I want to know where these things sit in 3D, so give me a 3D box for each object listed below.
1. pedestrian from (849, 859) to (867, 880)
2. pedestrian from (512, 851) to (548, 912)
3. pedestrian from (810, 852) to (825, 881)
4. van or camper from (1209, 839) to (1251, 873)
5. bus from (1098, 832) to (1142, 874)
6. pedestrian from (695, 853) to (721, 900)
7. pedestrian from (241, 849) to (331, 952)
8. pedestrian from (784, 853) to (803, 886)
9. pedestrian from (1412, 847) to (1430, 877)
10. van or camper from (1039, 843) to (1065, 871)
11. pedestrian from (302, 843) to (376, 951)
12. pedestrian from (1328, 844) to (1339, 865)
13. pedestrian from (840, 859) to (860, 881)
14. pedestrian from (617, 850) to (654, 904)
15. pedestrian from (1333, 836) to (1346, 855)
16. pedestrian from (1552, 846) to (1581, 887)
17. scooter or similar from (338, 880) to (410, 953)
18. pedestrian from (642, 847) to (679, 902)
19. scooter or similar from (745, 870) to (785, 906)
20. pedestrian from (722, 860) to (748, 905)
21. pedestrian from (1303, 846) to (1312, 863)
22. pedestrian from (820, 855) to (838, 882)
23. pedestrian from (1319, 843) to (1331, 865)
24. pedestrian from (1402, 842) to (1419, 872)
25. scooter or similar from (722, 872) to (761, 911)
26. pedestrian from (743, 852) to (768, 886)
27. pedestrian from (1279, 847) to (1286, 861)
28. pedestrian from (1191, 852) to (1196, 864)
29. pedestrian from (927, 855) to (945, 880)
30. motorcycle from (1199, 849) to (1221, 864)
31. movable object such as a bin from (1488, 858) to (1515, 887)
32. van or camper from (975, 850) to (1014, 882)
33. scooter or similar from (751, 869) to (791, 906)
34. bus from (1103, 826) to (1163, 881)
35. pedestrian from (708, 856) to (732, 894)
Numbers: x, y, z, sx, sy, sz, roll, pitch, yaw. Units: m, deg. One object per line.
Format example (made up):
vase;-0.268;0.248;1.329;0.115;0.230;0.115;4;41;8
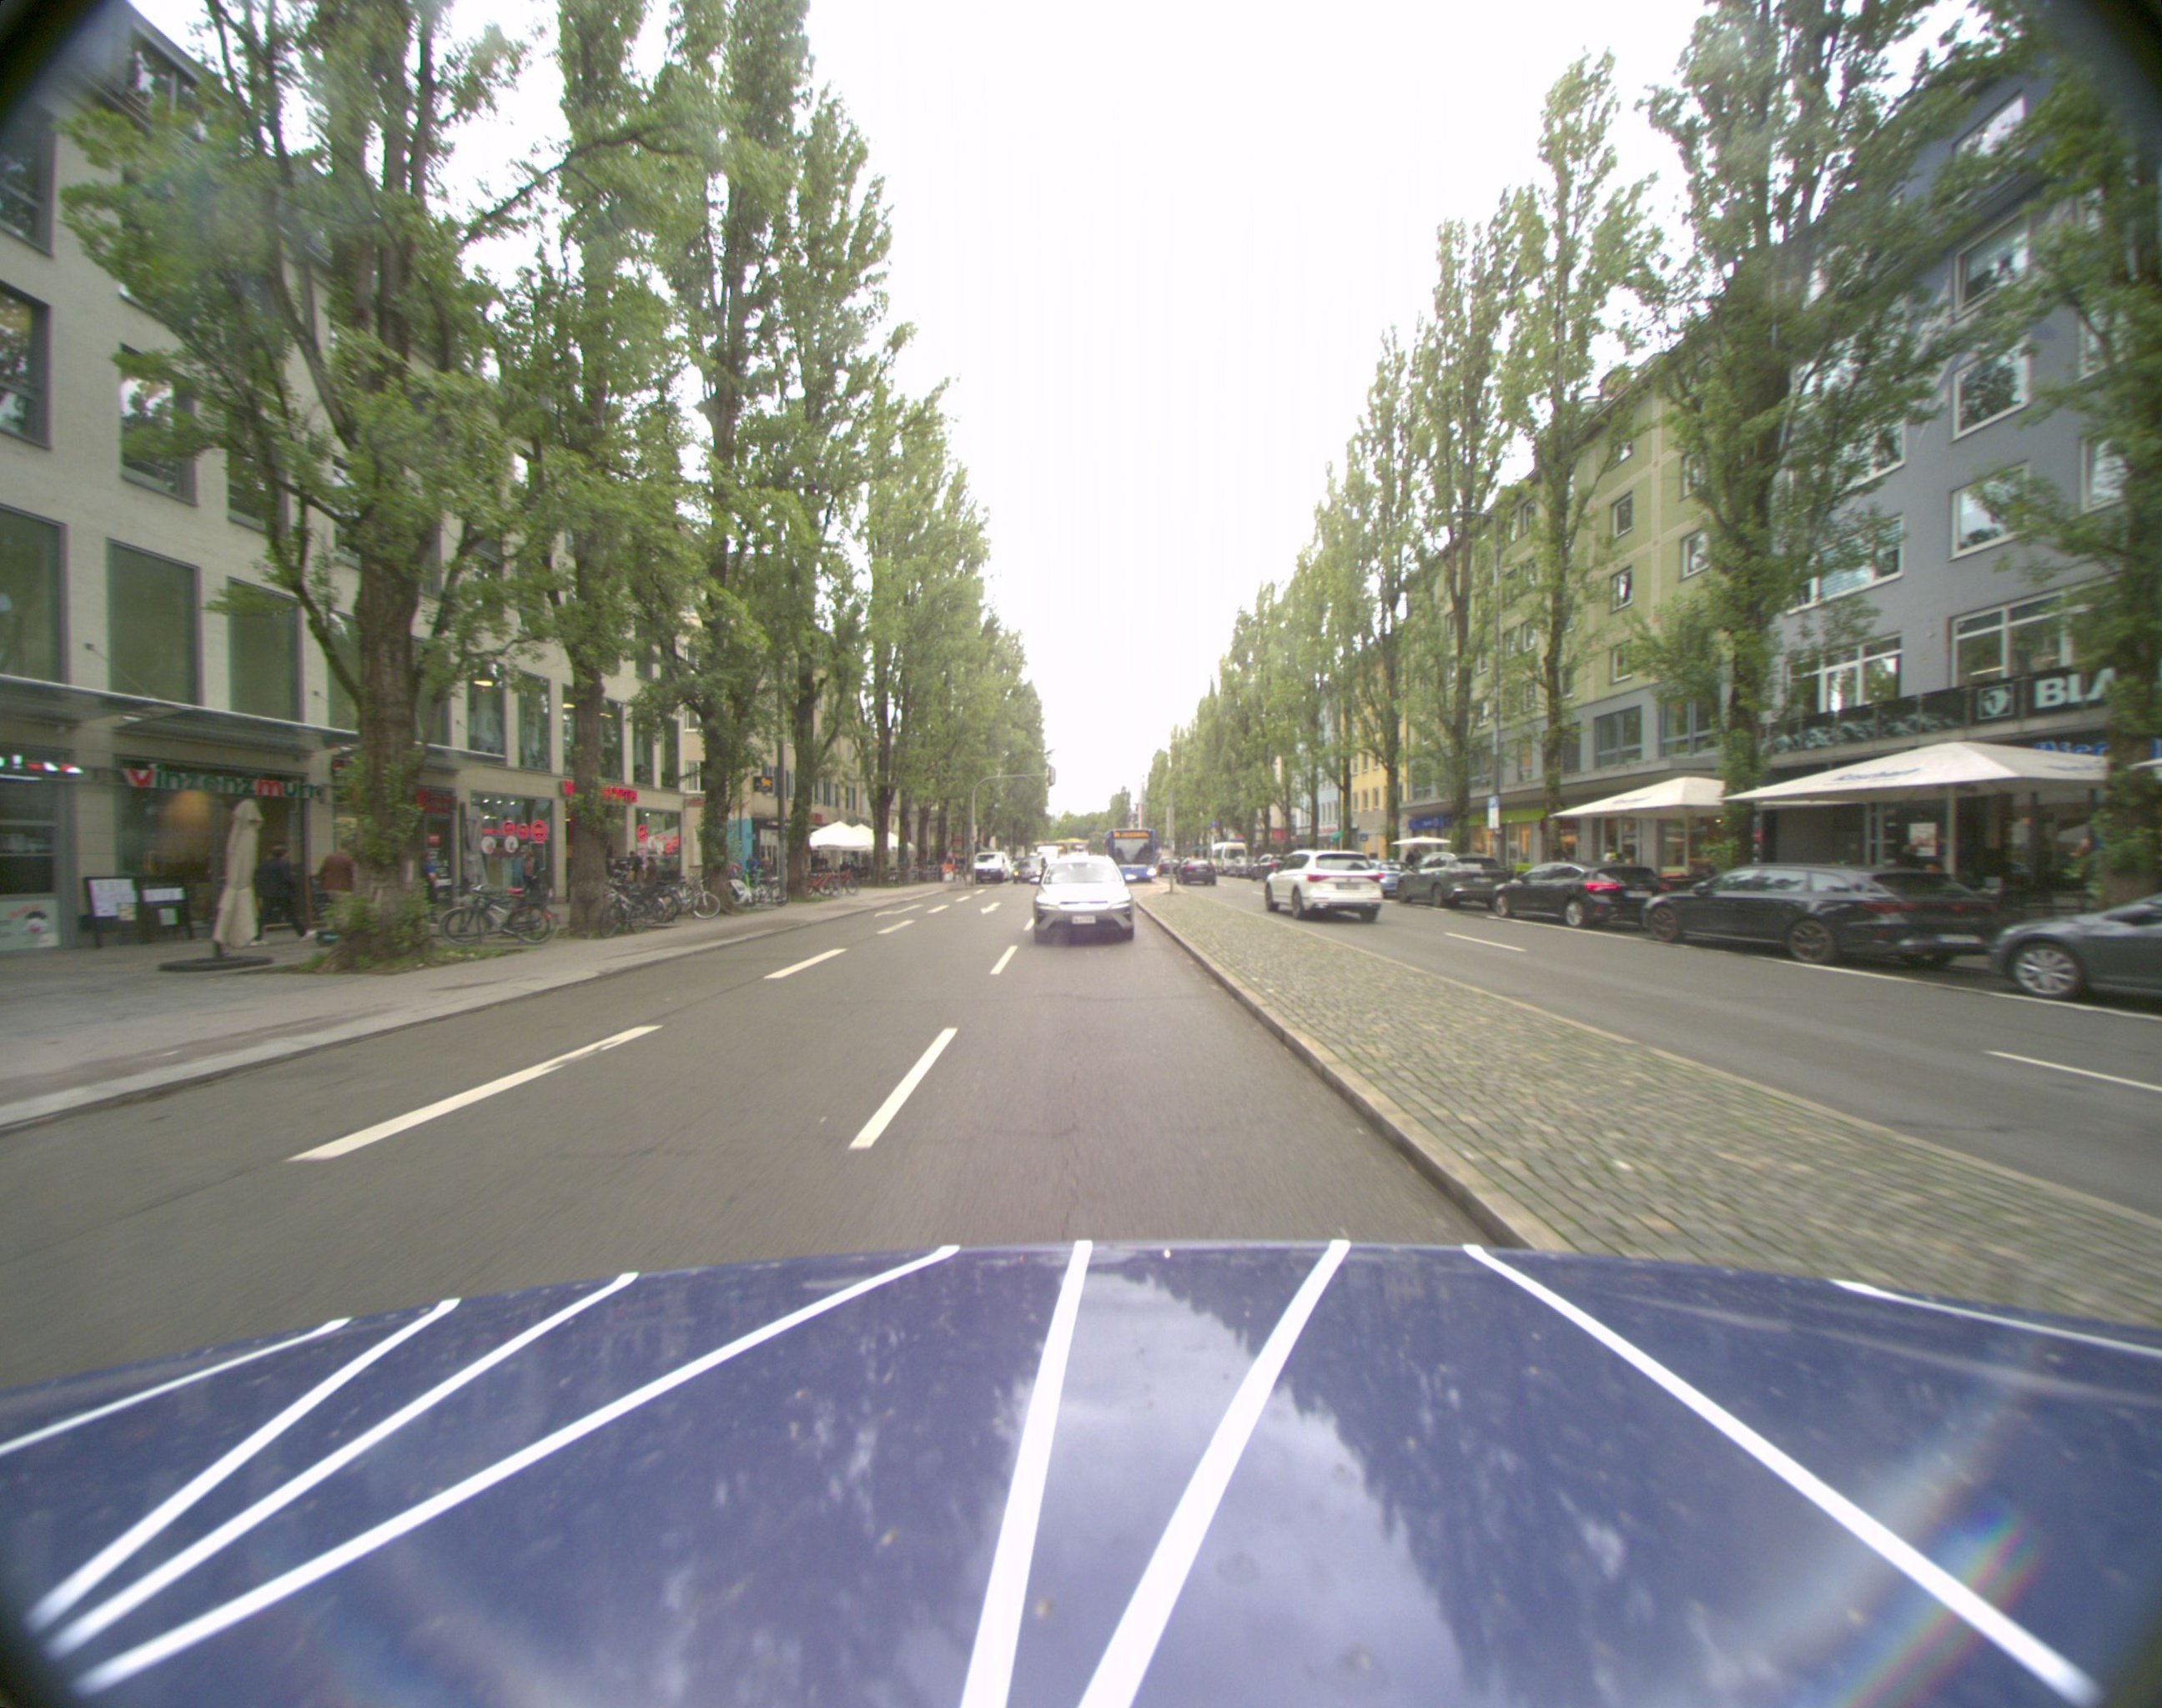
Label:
pedestrian;-13.397;0.918;45.657;0.667;1.209;1.023;-1;0;4
pedestrian;-16.366;0.810;22.569;0.547;1.757;0.642;-1;1;1
pedestrian;-15.612;0.733;44.990;0.629;1.709;0.681;-1;1;1
van or camper;11.786;0.160;60.559;2.131;2.536;6.643;-1;0;1
bus;2.872;-0.074;59.518;2.806;2.886;12.856;0;0;0
pedestrian;-13.935;0.842;28.378;0.566;1.732;0.697;-1;1;4
pedestrian;-14.664;0.831;14.039;0.658;1.840;0.906;0;1;2
pedestrian;-14.702;0.790;38.828;0.668;1.654;0.692;-1;1;0
pedestrian;20.483;0.459;45.769;0.749;1.784;0.716;-1;1;1
van or camper;-2.677;0.280;70.888;1.998;2.470;6.643;-1;0;1
pedestrian;-13.833;0.786;14.182;0.658;1.959;0.722;0;0;3
pedestrian;20.450;0.025;61.580;0.640;1.694;0.724;0;1;0
pedestrian;-13.471;0.919;44.331;0.775;1.209;1.023;-1;0;4
pedestrian;-15.567;0.800;26.561;0.753;1.843;0.821;-1;1;2
pedestrian;18.794;-0.616;55.193;0.769;1.430;0.551;0;1;-4
pedestrian;20.206;0.508;31.627;0.710;1.663;0.756;-1;1;1
scooter or similar;-13.129;1.147;14.143;0.331;1.266;1.036;-1;1;1
pedestrian;-14.481;0.705;26.184;0.753;1.859;0.821;0;1;4
scooter or similar;-10.898;1.154;26.247;0.306;1.163;1.246;-1;1;39
pedestrian;-12.914;1.065;28.338;0.547;1.639;0.751;-1;1;4
pedestrian;18.728;0.036;62.839;0.649;1.430;0.551;0;1;2
pedestrian;-14.929;0.870;44.985;0.696;1.568;0.874;-1;1;1
pedestrian;19.717;0.027;61.399;0.732;1.755;0.724;0;1;-1
pedestrian;19.851;0.151;45.761;0.749;1.784;0.716;-1;1;1
scooter or similar;-10.537;1.151;23.563;1.241;1.163;0.404;0;2;30
pedestrian;-15.908;0.731;37.153;0.764;1.594;1.016;-1;1;1
pedestrian;20.410;0.028;76.846;0.609;1.430;0.551;0;1;3
pedestrian;15.019;0.525;101.201;0.609;1.580;0.551;0;1;12
pedestrian;-10.290;0.933;53.910;0.941;1.756;0.837;-1;1;38
motorcycle;12.523;0.259;73.859;2.023;1.413;0.570;0;1;-6
movable object such as a bin;15.593;0.688;28.173;0.731;1.041;0.661;-1;1;-39
van or camper;-5.373;0.733;47.819;1.795;1.894;4.566;-1;0;1
scooter or similar;-10.609;1.130;26.030;0.285;1.163;1.246;-1;1;42
bus;2.933;-0.027;46.639;2.806;2.886;12.856;0;0;0
pedestrian;-14.505;0.835;30.545;0.566;1.511;0.697;-1;1;4
